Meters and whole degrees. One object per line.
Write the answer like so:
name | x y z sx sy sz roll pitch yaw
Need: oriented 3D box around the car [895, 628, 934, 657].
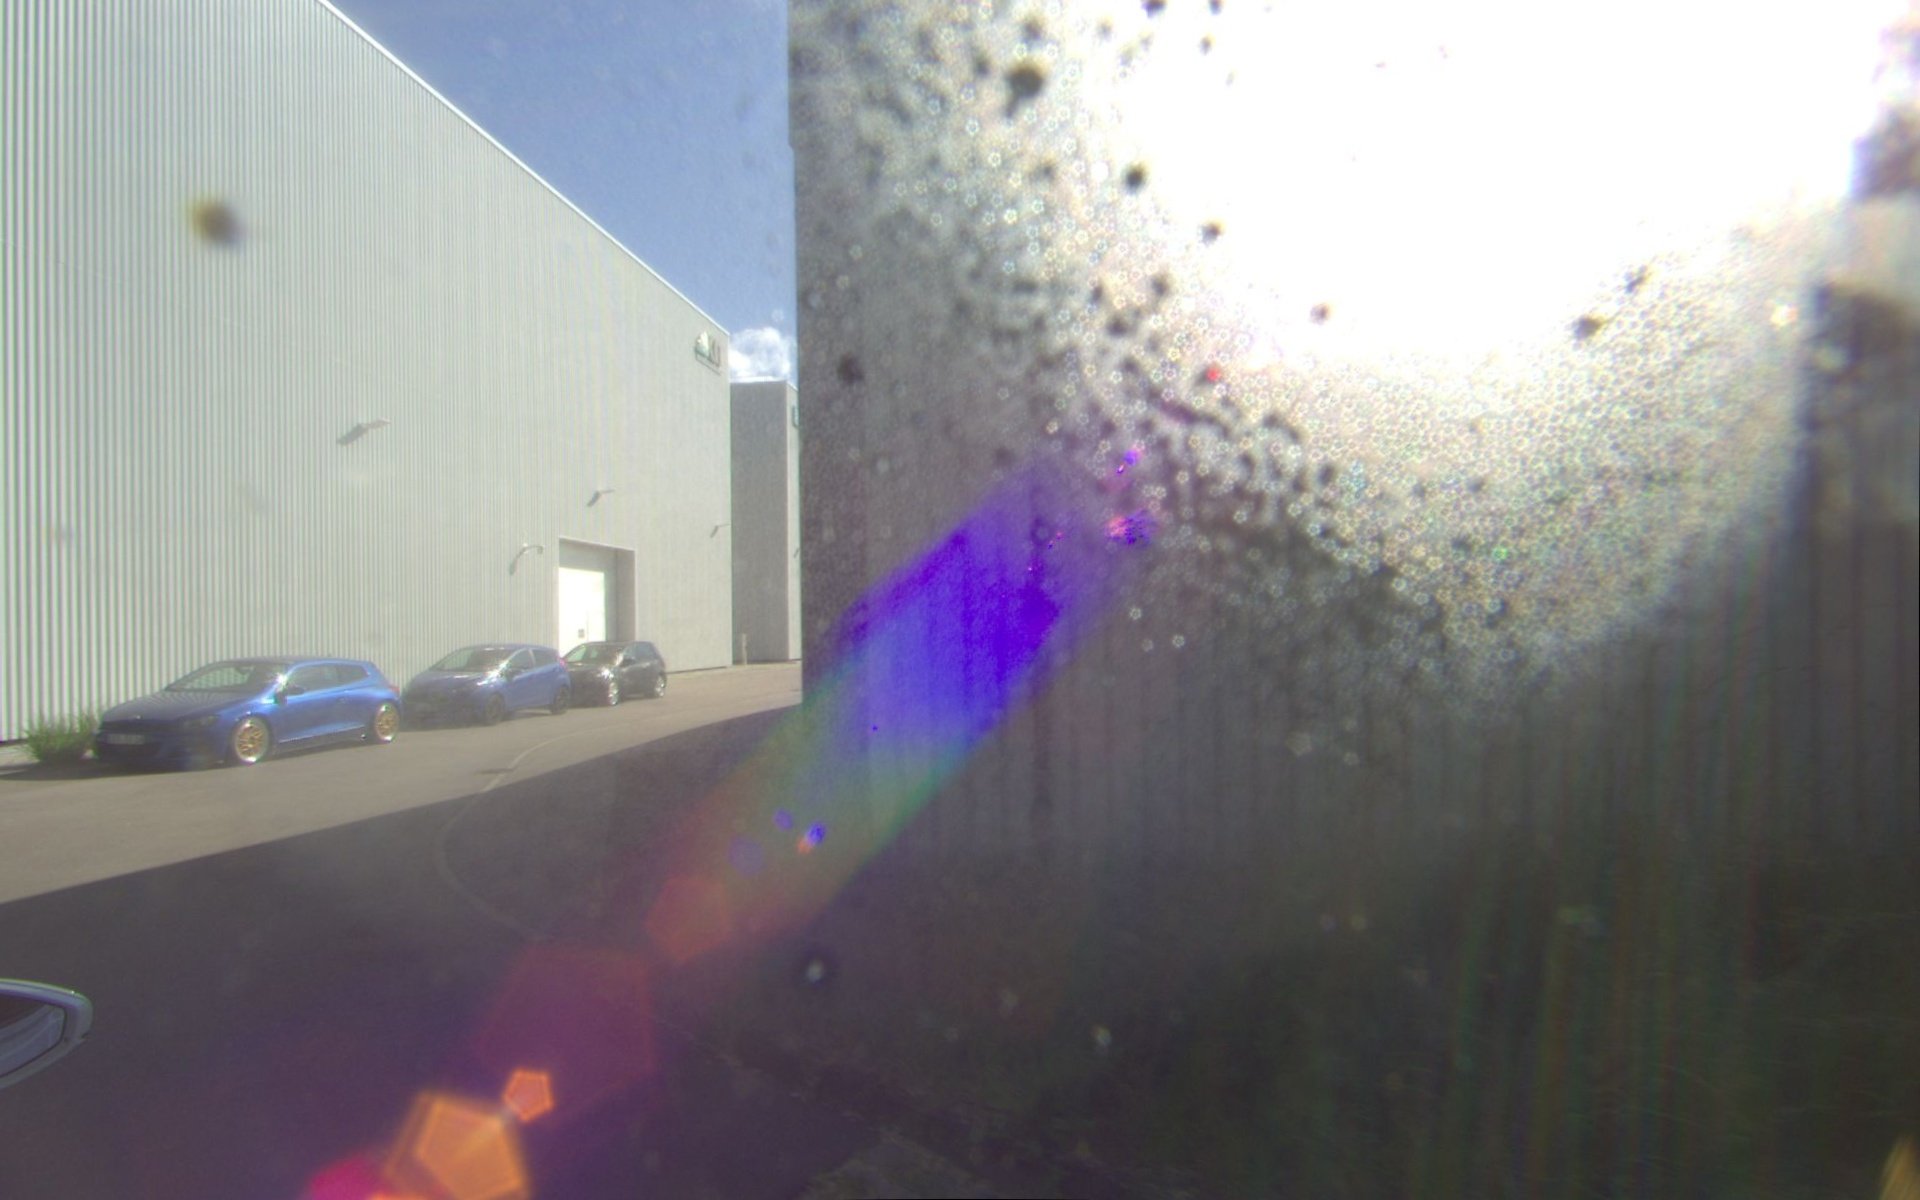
car | -3.036 2.833 67.207 1.678 1.779 4.298 1 -2 10

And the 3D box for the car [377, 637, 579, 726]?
car | -9.236 1.503 19.584 1.721 1.492 3.899 1 -2 6

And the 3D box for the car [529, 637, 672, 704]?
car | -8.641 1.658 24.441 1.721 1.436 3.899 1 -2 6

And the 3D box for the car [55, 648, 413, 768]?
car | -9.834 1.385 14.057 1.721 1.401 4.170 0 -2 6
